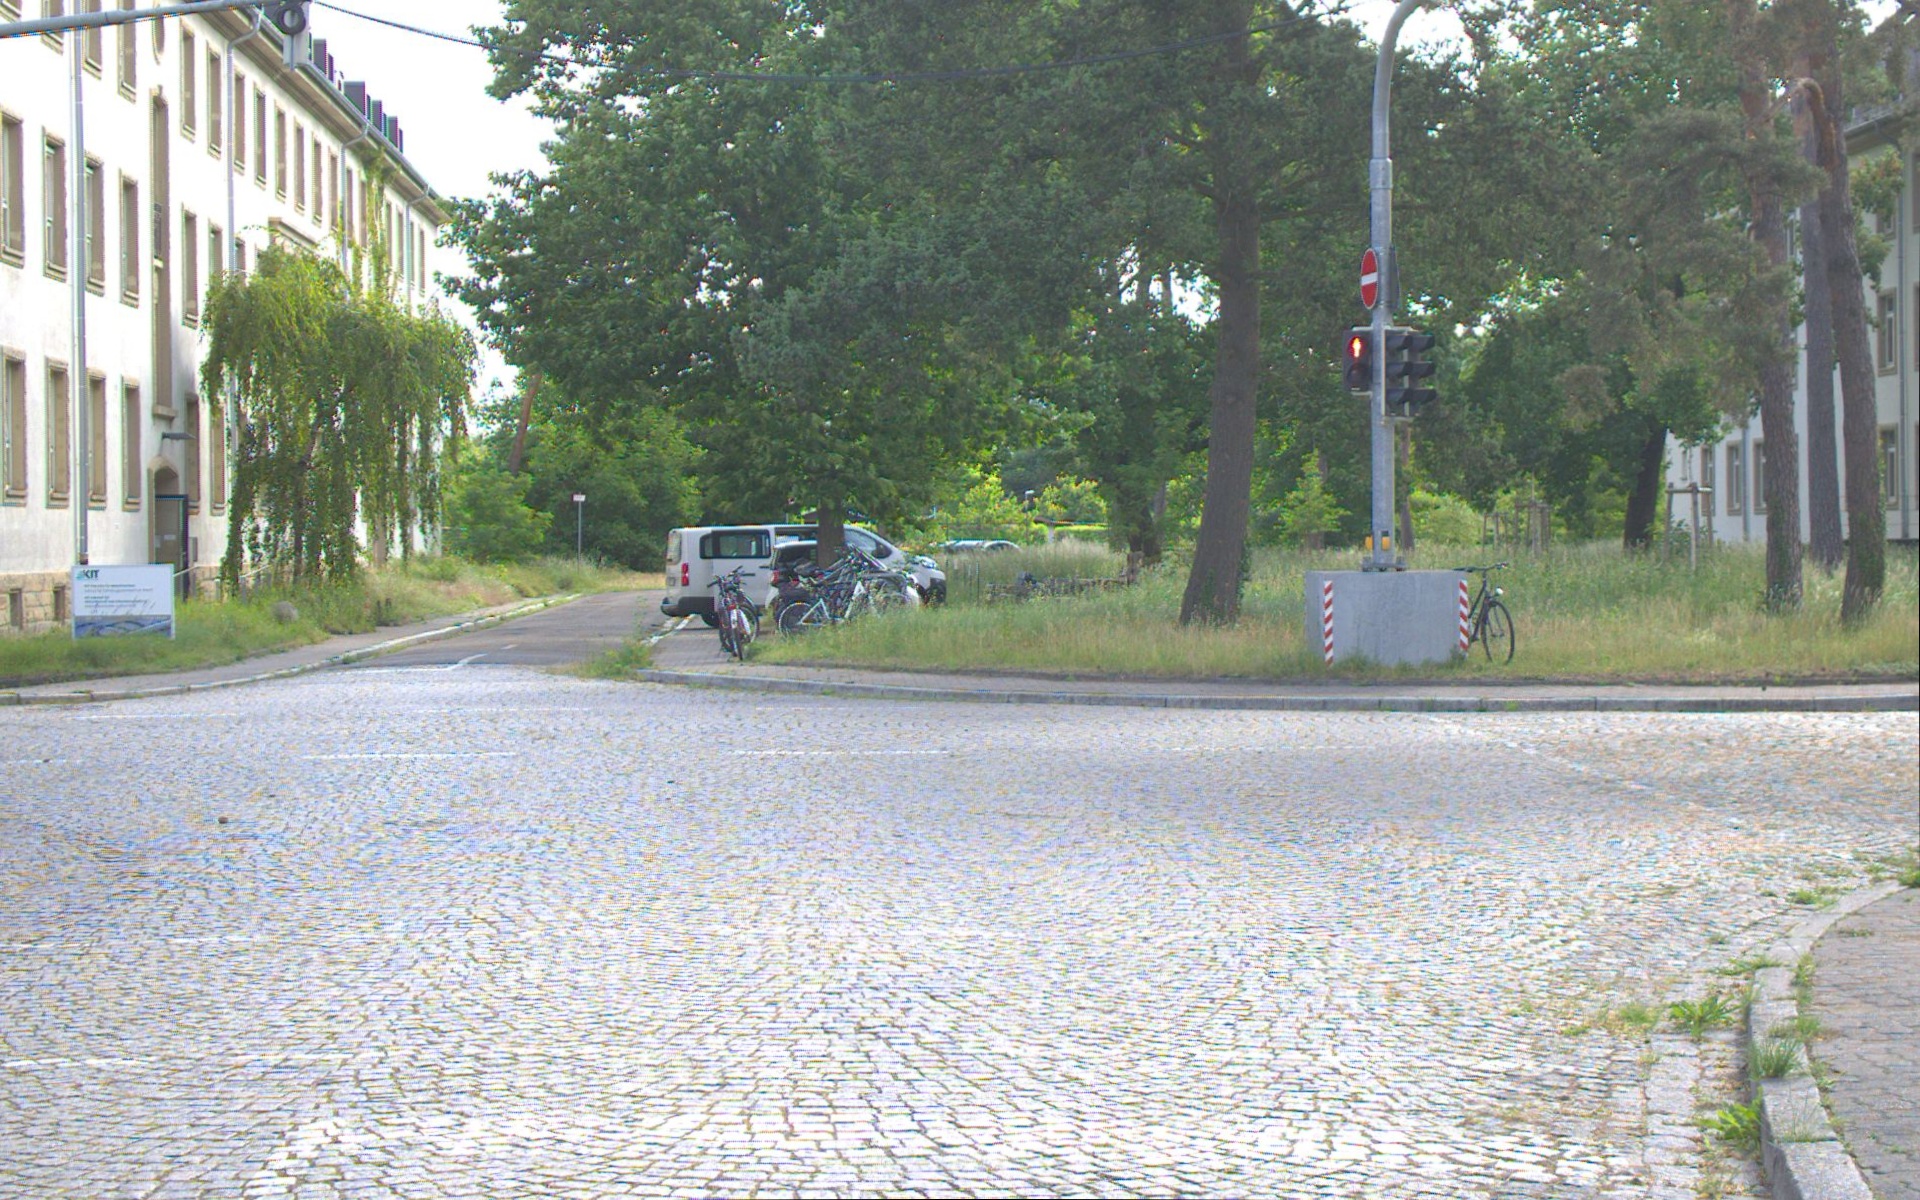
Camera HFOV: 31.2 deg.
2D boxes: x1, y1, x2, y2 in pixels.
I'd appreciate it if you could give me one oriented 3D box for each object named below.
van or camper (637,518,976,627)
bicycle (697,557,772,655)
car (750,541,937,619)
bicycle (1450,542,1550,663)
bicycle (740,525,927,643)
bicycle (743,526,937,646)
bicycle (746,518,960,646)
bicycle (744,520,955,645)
[{"bbox_3d":[-2.883,-0.538,64.388,6.030,1.942,2.001,-1,1,-16],"label":"van or camper"},{"bbox_3d":[-2.746,0.061,42.128,0.725,1.104,2.462,-5,1,-1],"label":"bicycle"},{"bbox_3d":[-2.078,-0.363,60.843,3.137,1.349,1.620,0,1,-8],"label":"car"},{"bbox_3d":[5.468,0.010,34.936,0.724,1.165,2.736,1,1,4],"label":"bicycle"},{"bbox_3d":[-1.924,-0.247,52.546,2.775,1.688,1.120,2,1,-1],"label":"bicycle"},{"bbox_3d":[-1.774,-0.211,51.213,2.775,1.688,1.120,2,1,1],"label":"bicycle"},{"bbox_3d":[-1.460,-0.254,46.460,2.775,1.688,1.120,-1,1,-8],"label":"bicycle"},{"bbox_3d":[-1.544,-0.248,47.653,2.775,1.688,1.120,-1,1,-10],"label":"bicycle"}]
